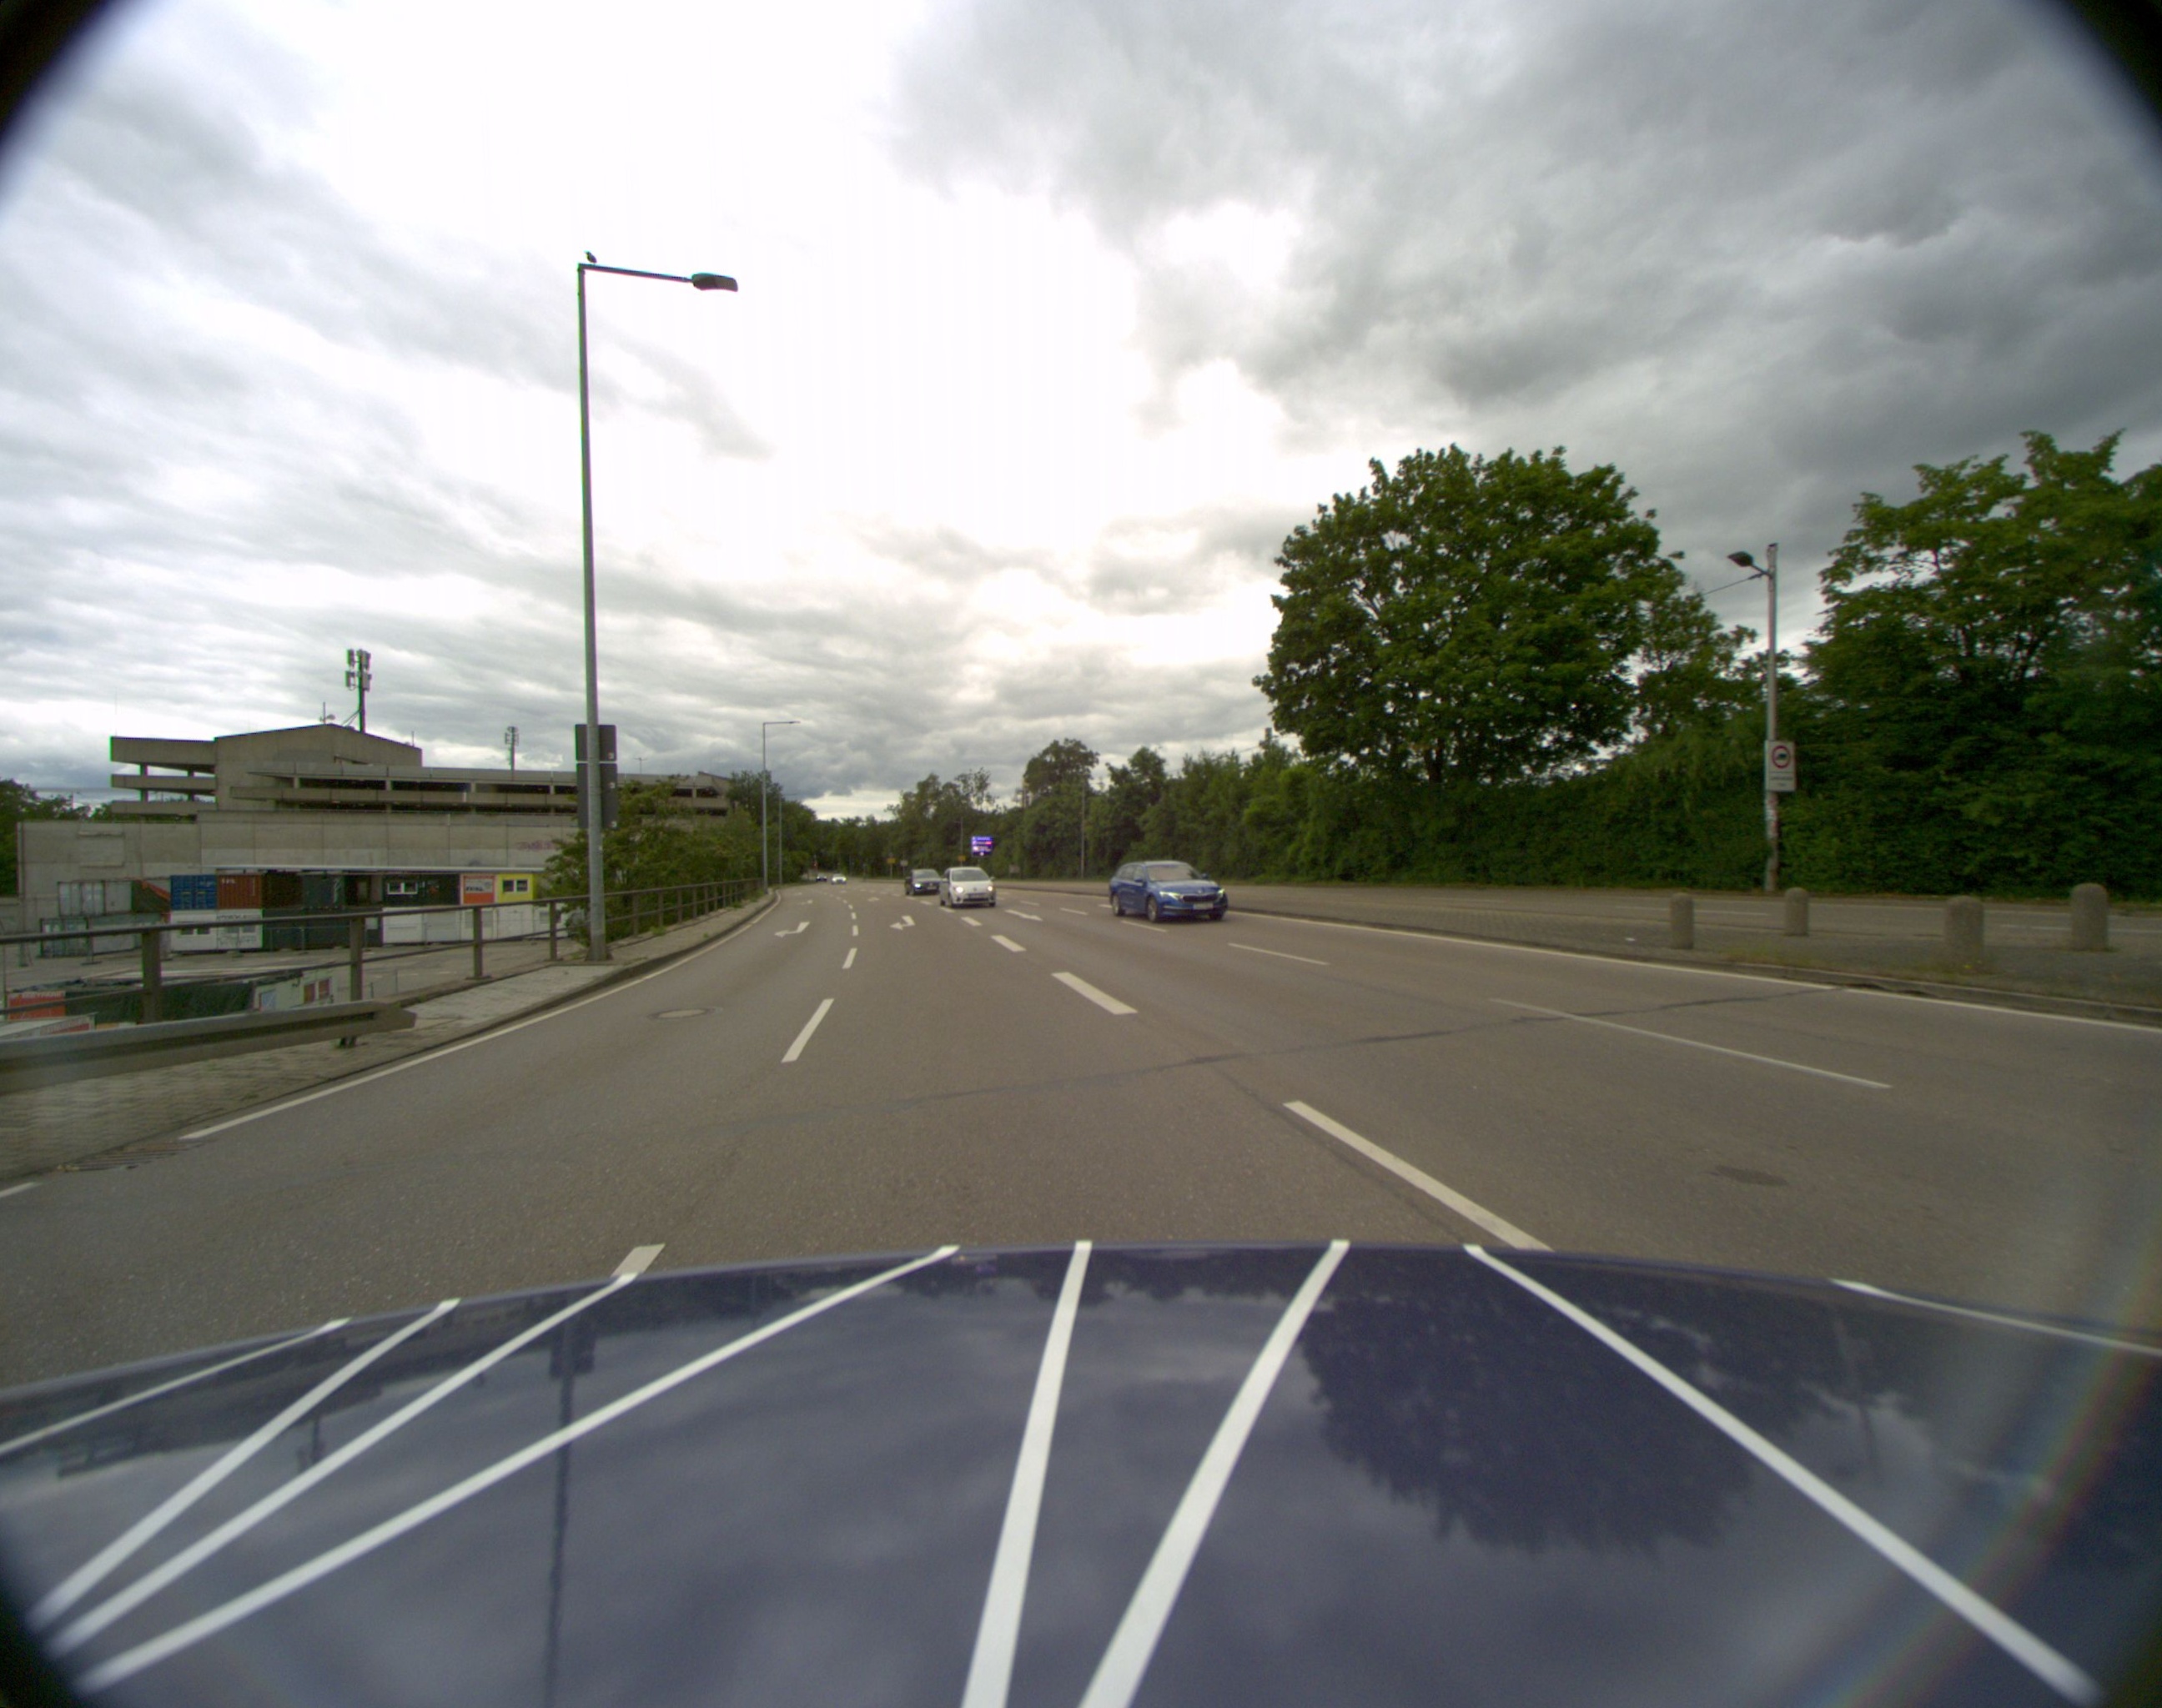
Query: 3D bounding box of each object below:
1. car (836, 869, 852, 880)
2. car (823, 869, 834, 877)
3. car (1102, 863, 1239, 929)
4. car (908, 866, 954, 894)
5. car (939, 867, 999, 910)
[{"bbox_3d":[-33.109,2.878,106.148,1.868,1.408,4.331,-2,0,-20],"label":"car"},{"bbox_3d":[-49.752,3.788,149.575,1.868,1.408,4.331,-2,0,-21],"label":"car"},{"bbox_3d":[2.116,0.975,19.396,1.844,1.408,4.574,-2,0,-15],"label":"car"},{"bbox_3d":[-8.428,1.432,42.410,1.868,1.408,4.331,-2,0,-20],"label":"car"},{"bbox_3d":[-4.205,1.223,28.087,1.611,1.408,3.586,-2,0,-18],"label":"car"}]
